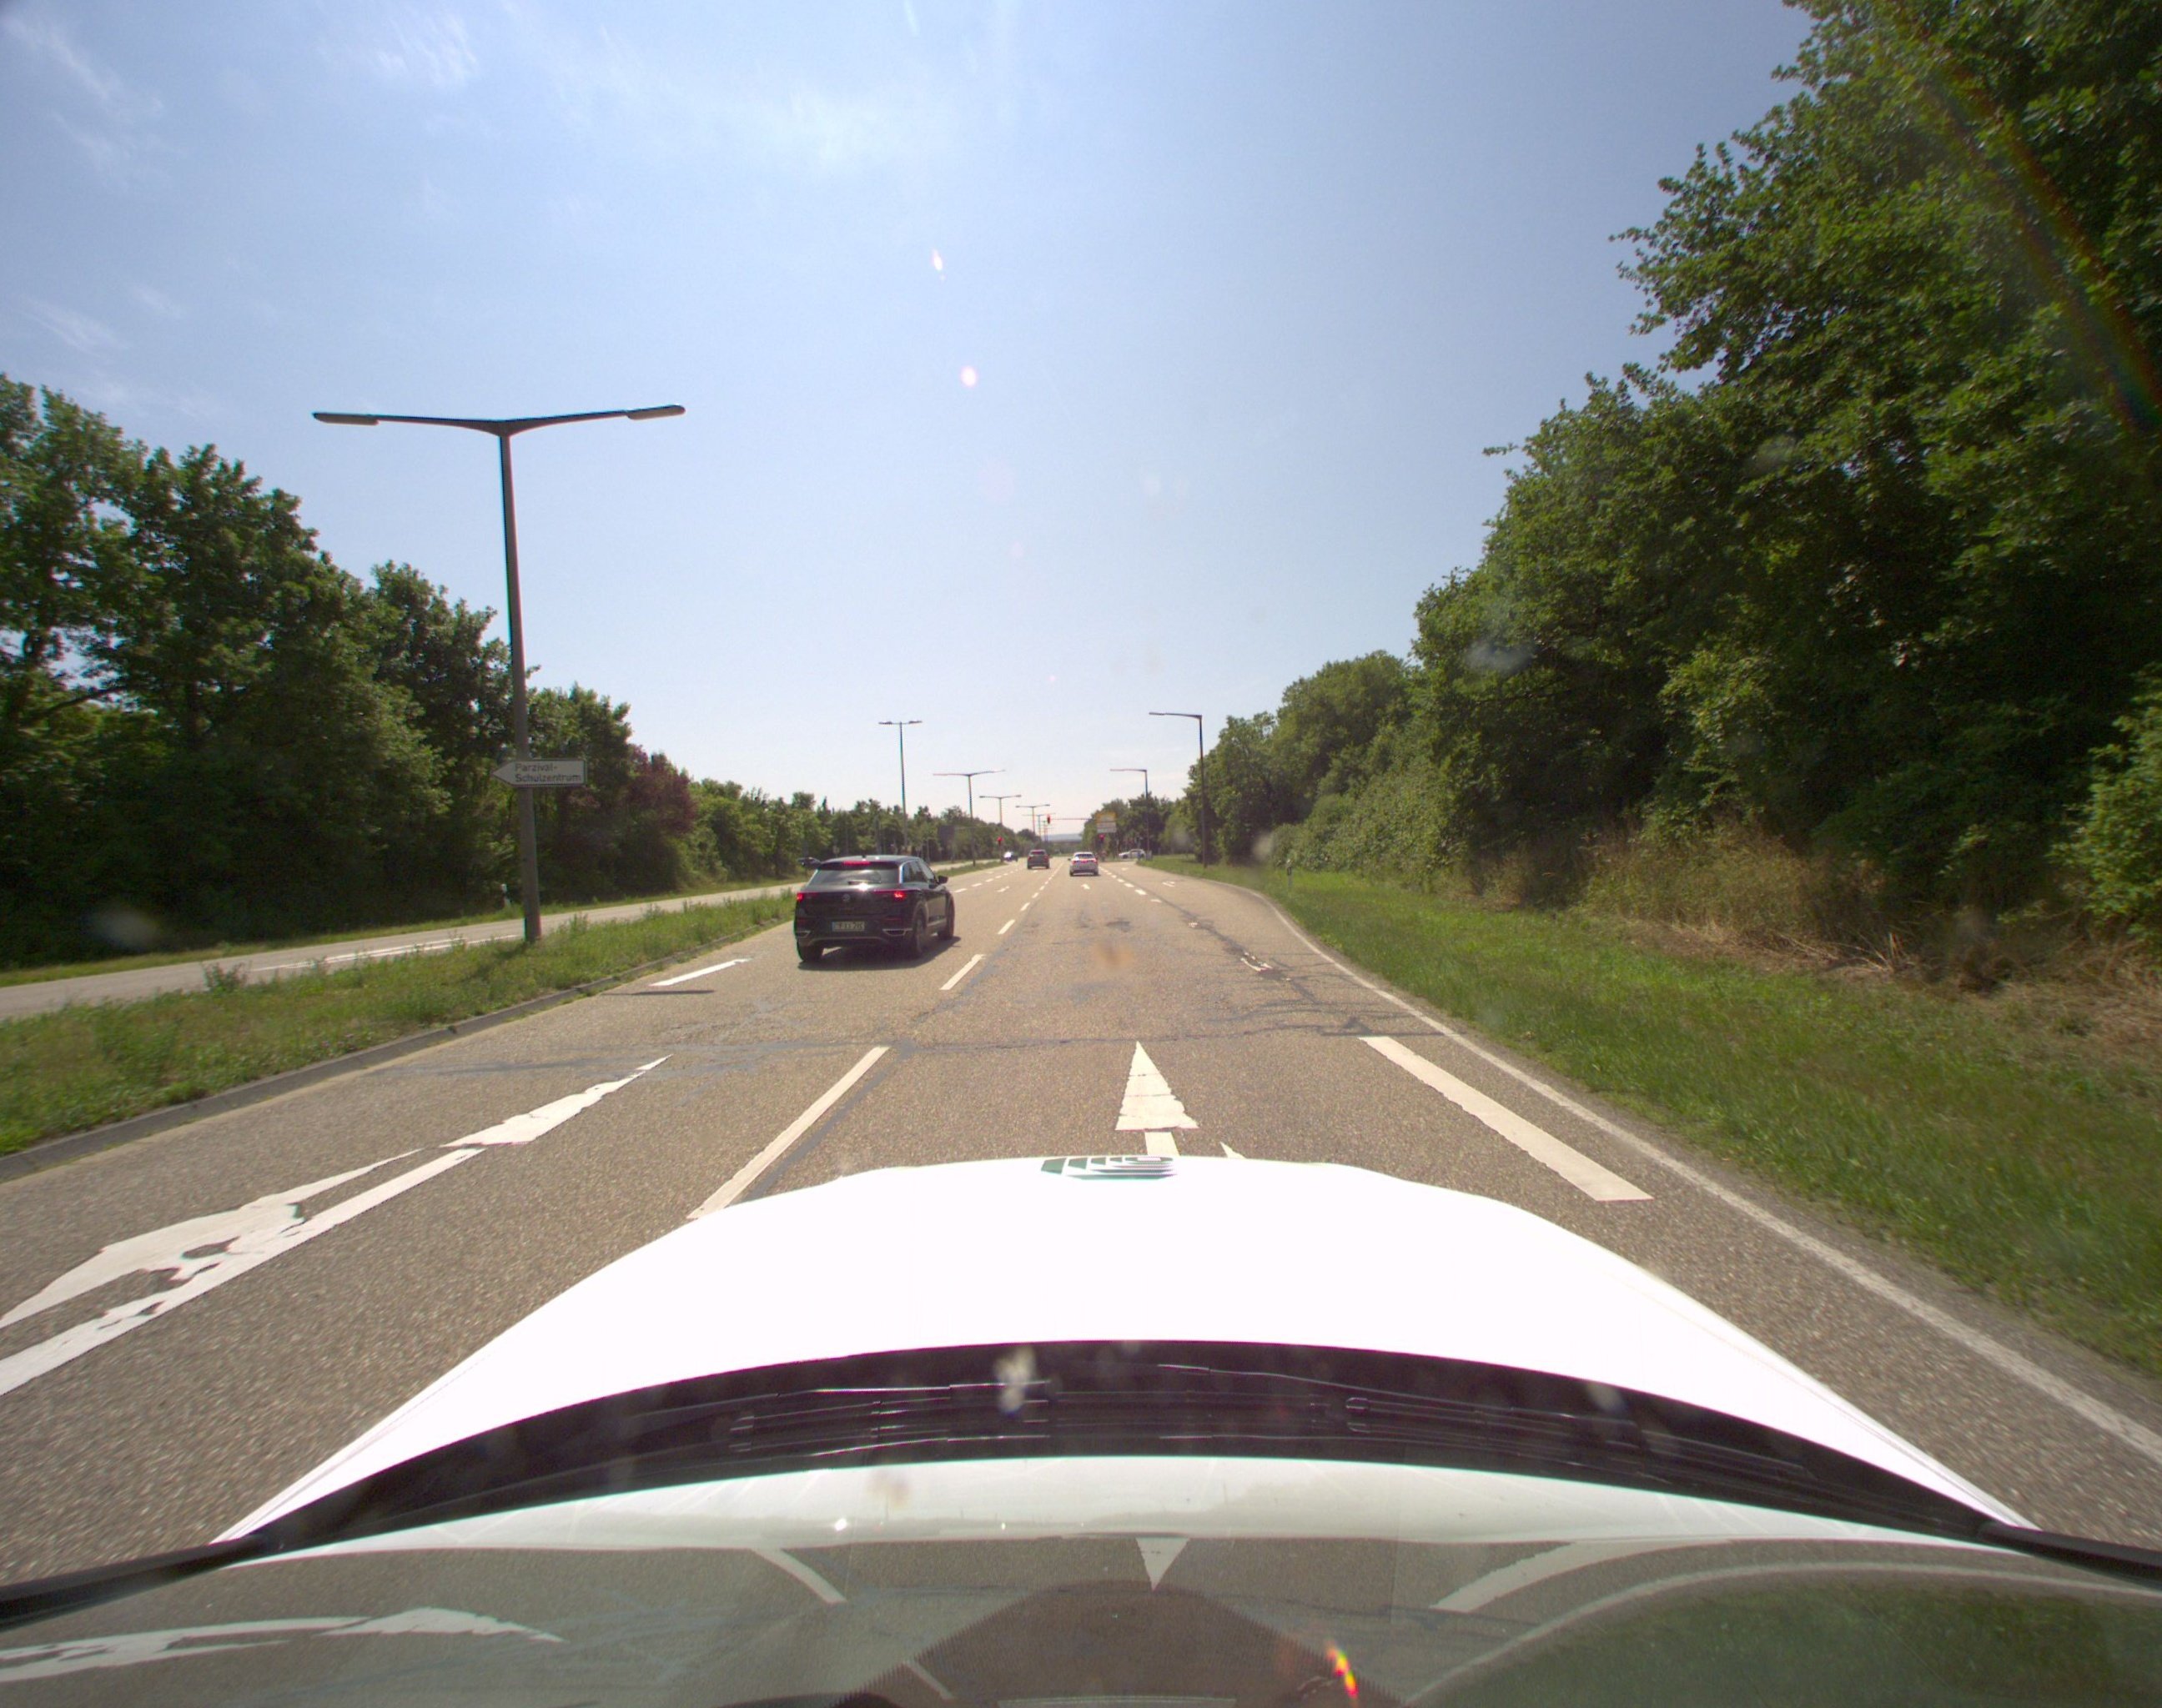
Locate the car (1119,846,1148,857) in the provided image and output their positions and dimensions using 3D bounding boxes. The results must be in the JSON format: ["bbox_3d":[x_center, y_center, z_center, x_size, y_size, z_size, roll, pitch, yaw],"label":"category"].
[{"bbox_3d":[8.280,-0.426,128.247,4.100,1.525,1.932,-3,0,-9],"label":"car"}]

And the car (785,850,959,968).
[{"bbox_3d":[-3.179,0.759,13.235,1.750,1.556,3.999,-2,0,0],"label":"car"}]

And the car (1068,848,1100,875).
[{"bbox_3d":[0.200,0.445,50.696,1.790,1.583,4.002,-3,0,2],"label":"car"}]

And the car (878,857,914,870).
[{"bbox_3d":[-25.001,1.271,110.150,4.516,1.641,1.974,-2,0,-6],"label":"car"}]

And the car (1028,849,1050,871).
[{"bbox_3d":[-3.744,0.531,73.184,1.750,1.928,3.999,-2,0,0],"label":"car"}]

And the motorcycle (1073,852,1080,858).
[{"bbox_3d":[-0.960,0.208,171.328,1.420,1.281,2.568,-4,0,-1],"label":"motorcycle"}]

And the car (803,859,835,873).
[{"bbox_3d":[-36.554,1.710,113.732,3.991,1.830,1.991,-2,0,-13],"label":"car"}]
